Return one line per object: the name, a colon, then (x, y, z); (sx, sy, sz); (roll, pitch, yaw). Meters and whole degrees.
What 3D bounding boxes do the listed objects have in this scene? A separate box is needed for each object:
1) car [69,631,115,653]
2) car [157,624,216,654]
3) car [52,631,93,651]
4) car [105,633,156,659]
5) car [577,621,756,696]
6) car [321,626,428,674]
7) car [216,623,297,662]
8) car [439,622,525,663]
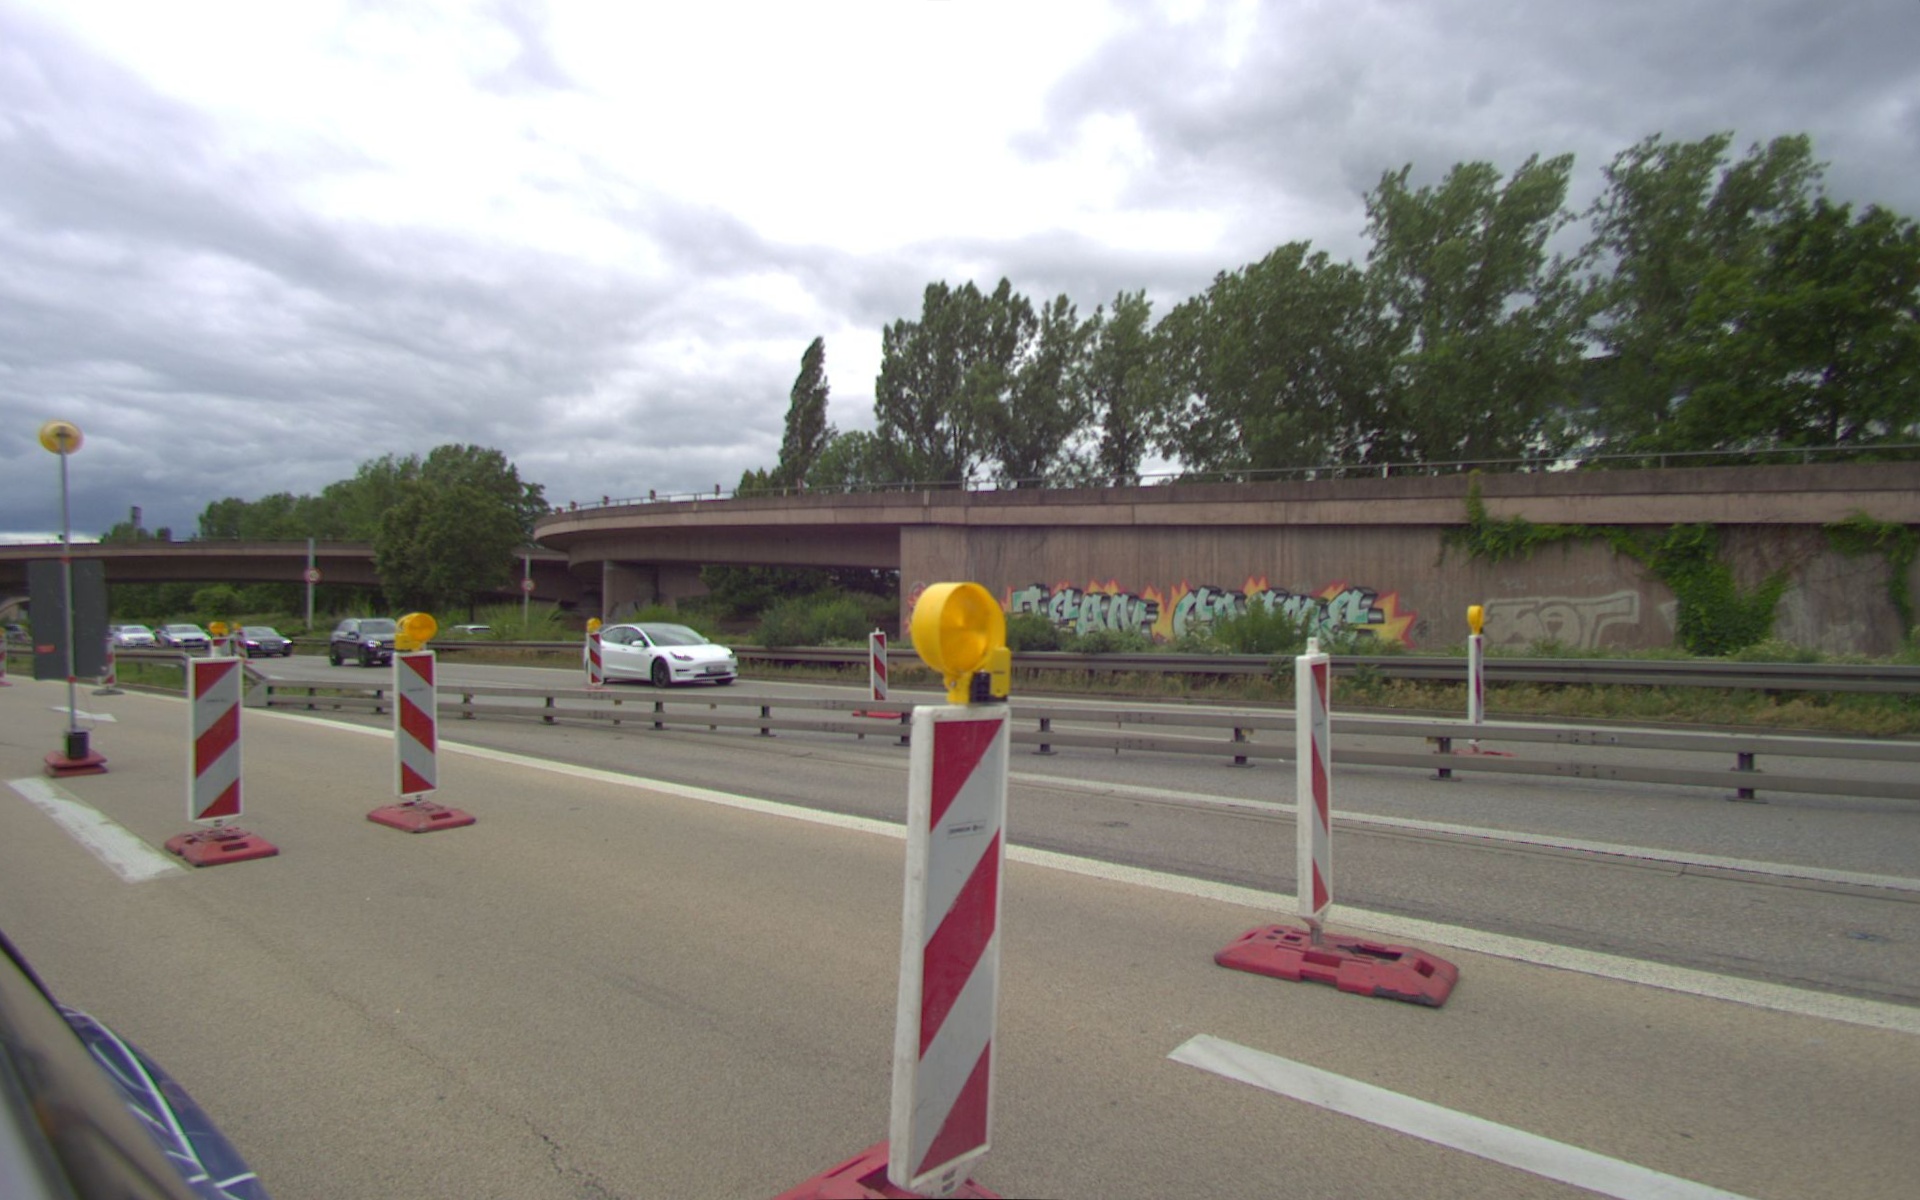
car: (-64.084, 3.070, 74.701); (4.291, 1.606, 1.972); (-1, -3, 42)
car: (-41.851, 2.098, 54.742); (3.998, 1.523, 1.779); (0, -2, 41)
car: (-72.368, 3.327, 82.520); (4.291, 1.606, 1.972); (-1, -3, 42)
car: (-53.423, 2.959, 65.158); (3.999, 1.606, 1.972); (-1, -3, 42)
car: (-6.908, 1.291, 23.592); (4.458, 1.553, 1.972); (-1, -1, 42)
car: (-20.643, 1.718, 35.615); (4.290, 1.522, 1.955); (-1, 0, 41)
car: (-32.201, 1.929, 46.309); (3.994, 1.716, 1.912); (-1, -3, 38)
car: (-20.944, 1.827, 44.292); (4.289, 1.653, 1.835); (-1, -1, 41)
